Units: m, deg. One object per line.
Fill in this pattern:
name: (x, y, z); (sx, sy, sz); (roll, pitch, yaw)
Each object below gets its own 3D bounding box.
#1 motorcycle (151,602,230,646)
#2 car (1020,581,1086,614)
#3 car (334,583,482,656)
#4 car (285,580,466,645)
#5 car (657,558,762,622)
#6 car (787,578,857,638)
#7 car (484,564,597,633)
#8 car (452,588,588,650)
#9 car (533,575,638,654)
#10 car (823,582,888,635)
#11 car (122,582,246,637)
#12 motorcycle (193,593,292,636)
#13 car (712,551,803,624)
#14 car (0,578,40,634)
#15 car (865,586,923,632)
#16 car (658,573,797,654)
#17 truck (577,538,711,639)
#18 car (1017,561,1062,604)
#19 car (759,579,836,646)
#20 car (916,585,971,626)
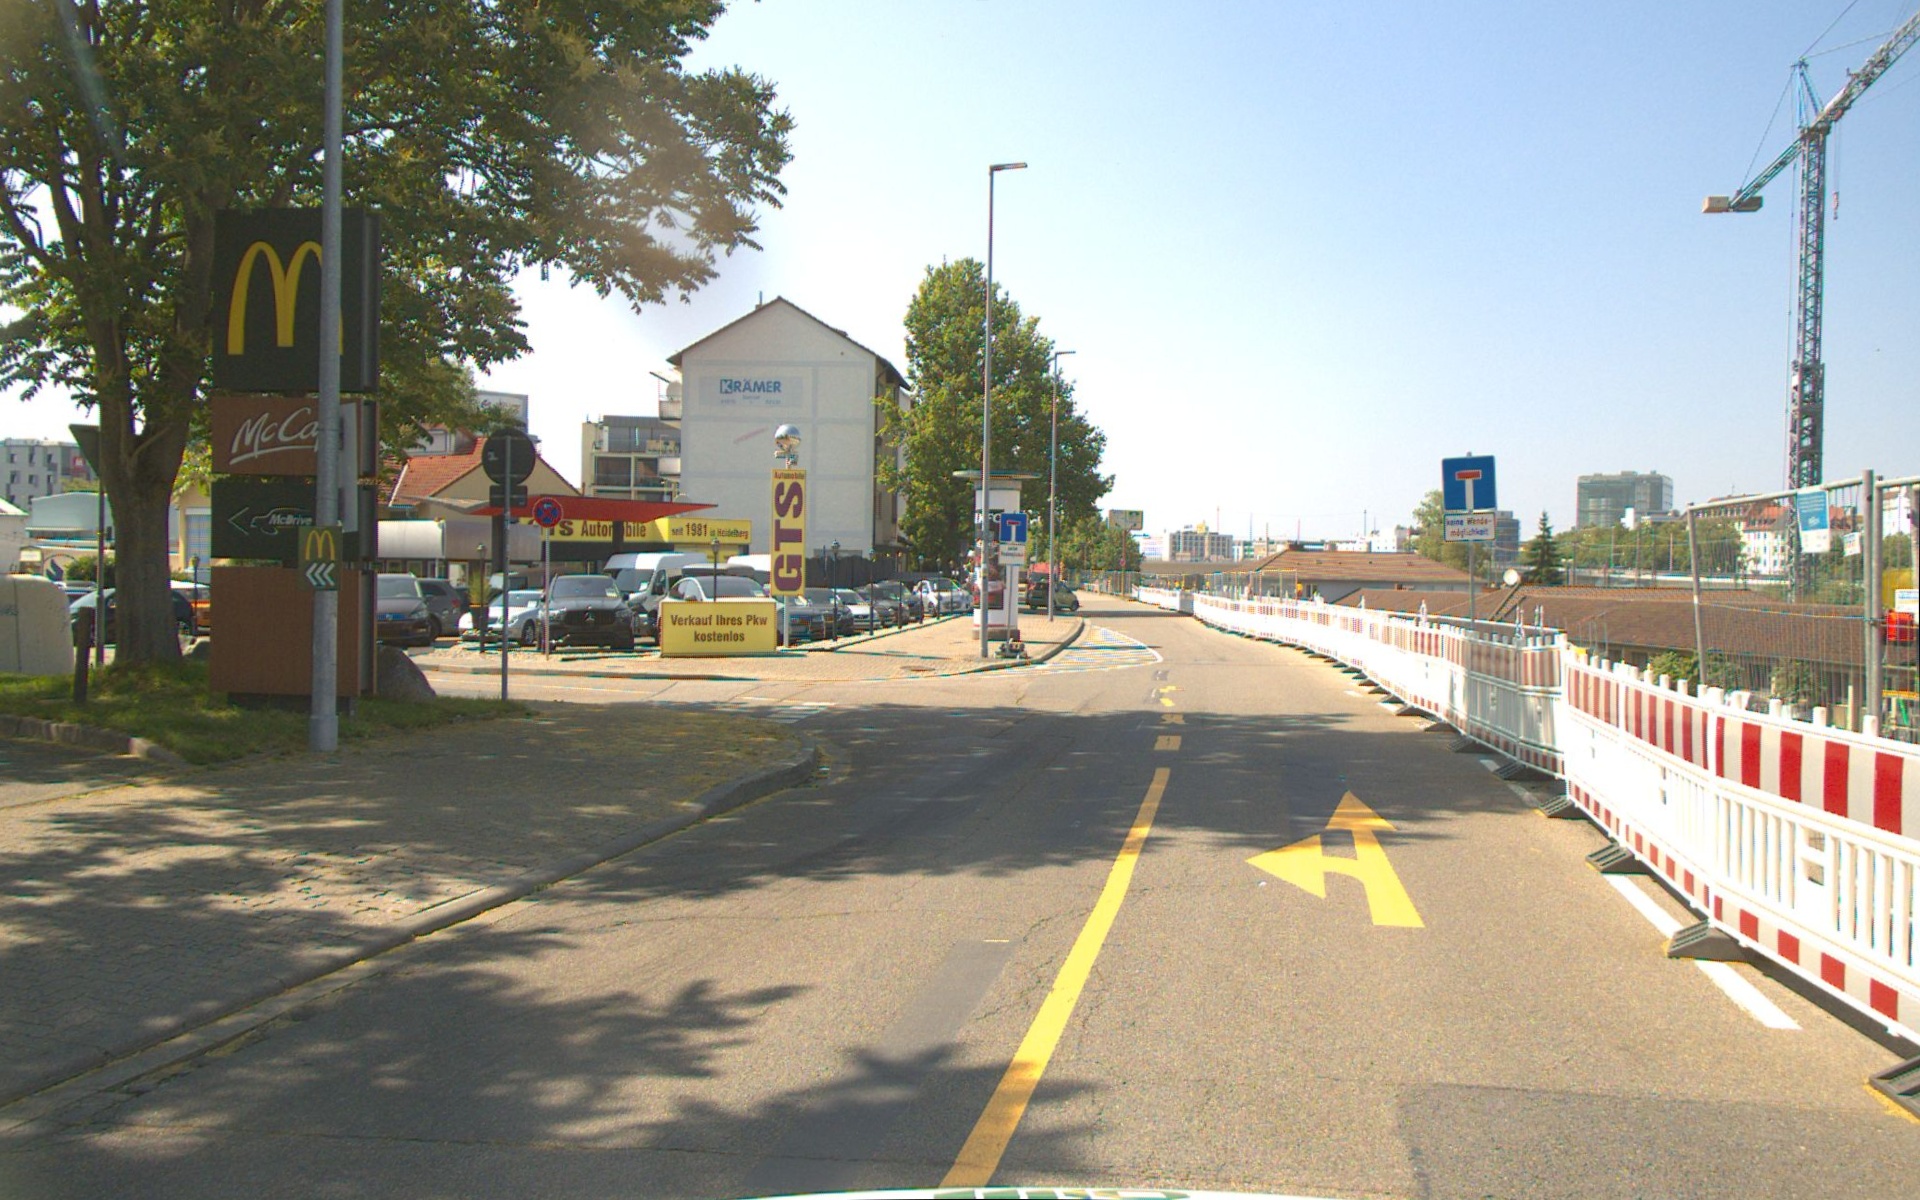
motorcycle: (-21.733, 0.684, 46.743); (1.859, 1.179, 0.777); (2, -1, -43)
car: (5.153, -0.137, 91.407); (3.243, 1.666, 1.705); (2, 0, -35)
car: (-12.730, 0.441, 38.416); (1.750, 1.536, 4.002); (2, 0, 5)
car: (-15.701, 0.334, 44.494); (4.278, 1.613, 1.979); (2, 0, -32)
car: (-7.502, -0.294, 50.015); (1.837, 1.768, 4.726); (2, 0, 7)
car: (-4.108, 0.213, 48.864); (1.822, 1.657, 3.993); (1, 0, -8)
car: (-13.287, -0.023, 52.679); (1.951, 2.049, 4.499); (2, 0, 7)
car: (-11.688, 0.502, 44.220); (1.750, 1.513, 4.003); (2, 0, 14)
car: (-8.457, 0.302, 37.129); (2.014, 1.622, 4.404); (2, 0, -16)
car: (-3.482, 0.250, 54.436); (1.822, 1.657, 3.993); (1, 0, -8)
car: (-24.762, 0.290, 52.723); (3.922, 1.612, 1.991); (1, 0, 38)
motorcycle: (-21.786, 0.444, 50.280); (0.977, 1.248, 2.715); (1, 0, 27)
car: (-6.797, -0.423, 56.023); (2.090, 2.324, 4.714); (1, 0, 5)
car: (-31.665, 0.146, 51.779); (1.955, 1.756, 4.647); (1, -1, 28)
car: (-2.546, 0.307, 63.107); (1.822, 1.657, 3.993); (1, 0, -8)
car: (-5.456, 0.286, 38.430); (1.970, 1.756, 3.964); (2, 0, -28)
truck: (-9.983, -0.358, 52.899); (2.220, 2.954, 5.948); (2, 0, 9)
car: (5.119, -1.096, 105.466); (2.484, 2.564, 5.121); (2, 0, 6)
car: (-4.292, 0.297, 43.239); (1.822, 1.657, 3.993); (1, 0, -8)
car: (-0.743, 0.208, 70.957); (1.822, 1.657, 3.993); (1, 0, -8)
